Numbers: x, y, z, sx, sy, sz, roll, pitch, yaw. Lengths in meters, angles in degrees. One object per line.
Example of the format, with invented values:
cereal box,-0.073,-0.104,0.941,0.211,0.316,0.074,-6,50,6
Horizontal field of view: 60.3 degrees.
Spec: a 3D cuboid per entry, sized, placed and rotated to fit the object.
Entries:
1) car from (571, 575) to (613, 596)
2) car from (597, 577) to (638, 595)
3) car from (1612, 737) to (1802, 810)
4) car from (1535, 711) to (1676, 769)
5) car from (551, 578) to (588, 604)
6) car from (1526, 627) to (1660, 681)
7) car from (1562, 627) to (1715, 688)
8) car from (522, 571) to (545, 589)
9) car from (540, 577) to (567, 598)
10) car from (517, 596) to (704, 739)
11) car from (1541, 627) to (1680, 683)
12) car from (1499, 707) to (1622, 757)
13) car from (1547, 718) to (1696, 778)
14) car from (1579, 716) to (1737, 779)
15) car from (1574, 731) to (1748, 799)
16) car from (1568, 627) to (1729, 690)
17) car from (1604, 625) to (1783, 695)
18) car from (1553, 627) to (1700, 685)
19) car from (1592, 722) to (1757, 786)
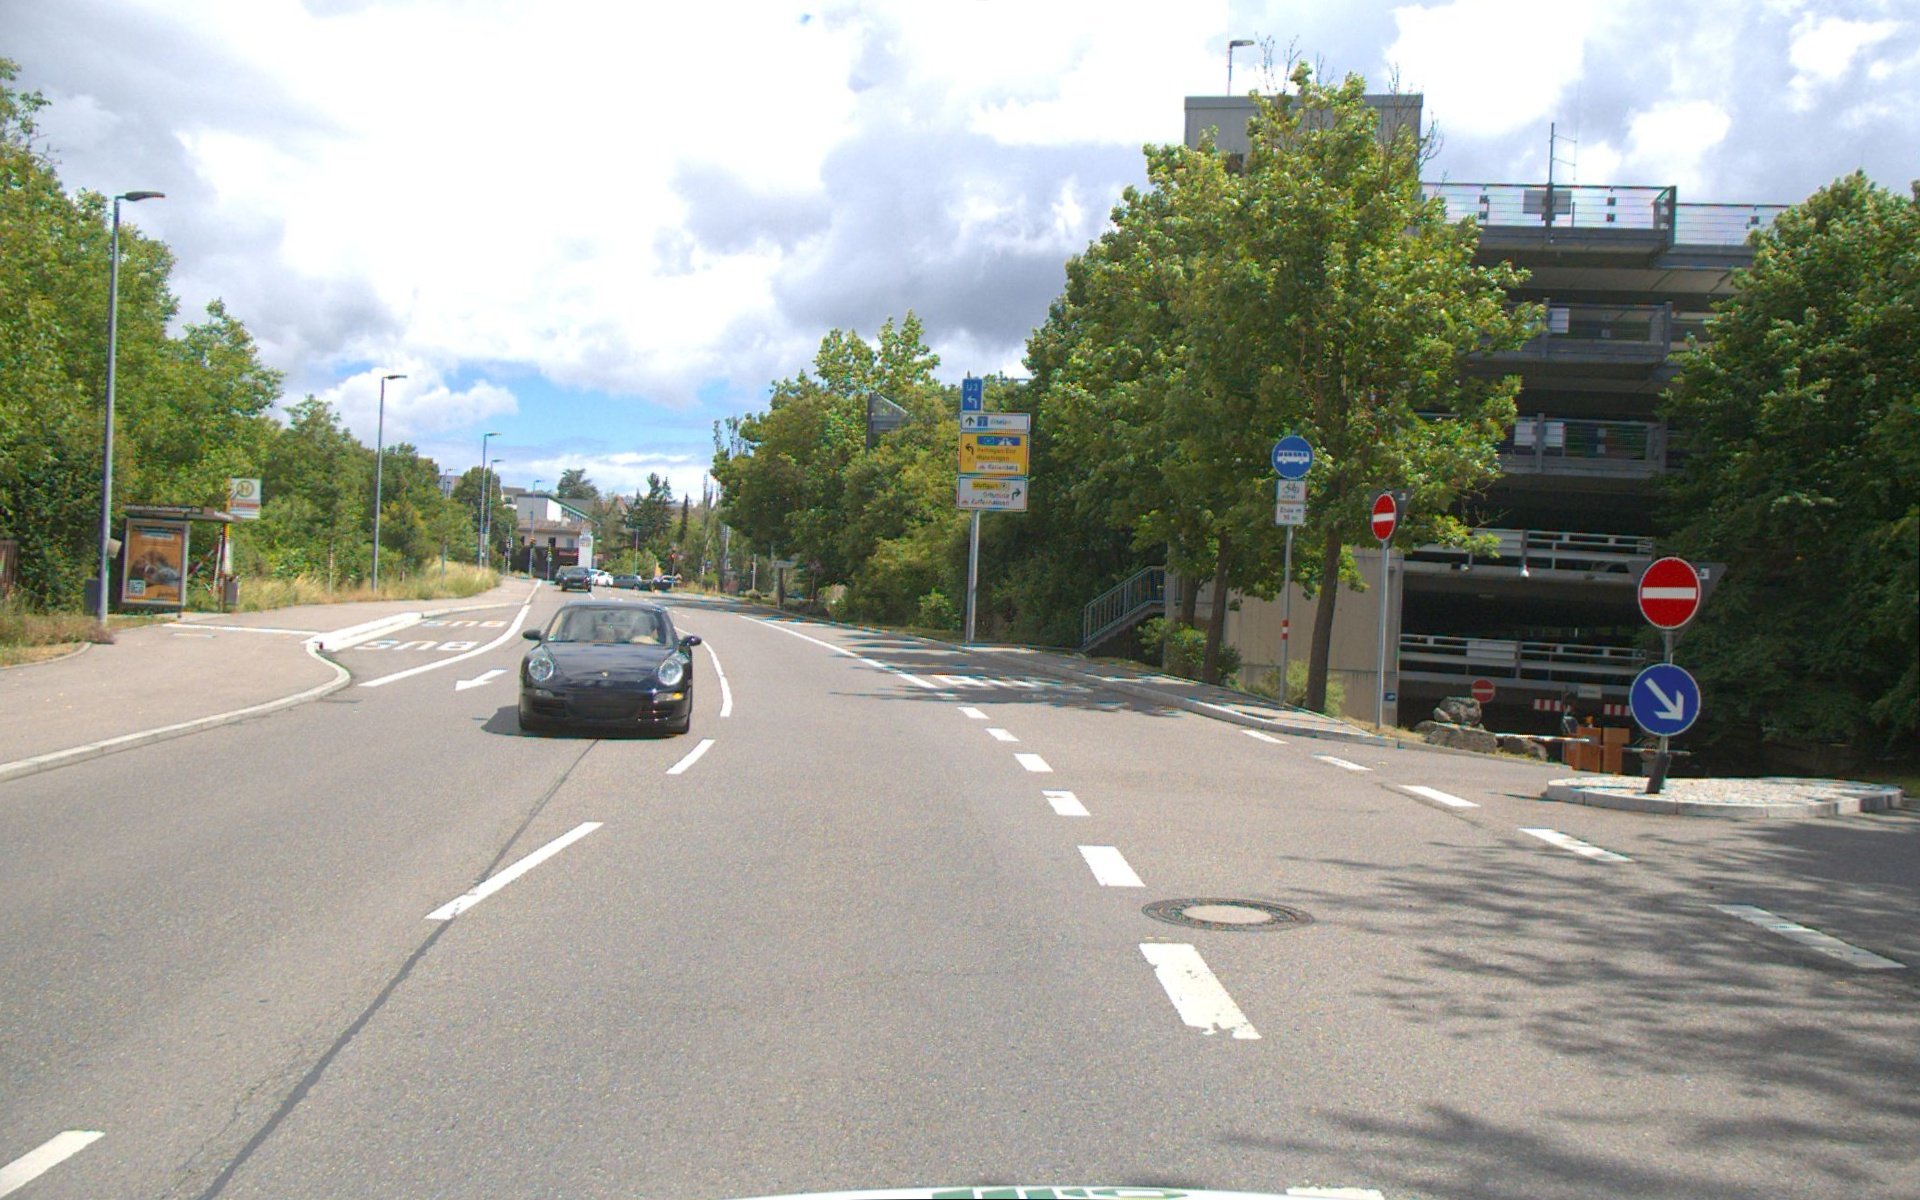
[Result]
car,-36.274,-1.395,163.178,3.917,1.937,1.994,2,0,-12
car,-34.604,-1.422,167.135,3.912,1.742,1.892,2,0,-8
car,19.574,4.537,43.526,4.222,1.443,2.001,3,0,15
car,21.804,4.724,56.033,4.222,1.515,2.001,3,0,15
car,-24.747,-0.574,104.805,1.795,1.584,4.603,1,1,-19
car,22.651,1.908,59.338,4.222,1.659,2.001,3,0,15
car,21.478,1.790,52.514,4.222,1.659,2.001,3,0,15
car,-37.410,-1.727,144.943,1.738,1.467,3.881,2,0,-17
car,-31.008,-0.945,126.013,1.738,1.467,4.357,2,0,-17
car,-3.623,0.649,17.707,1.702,1.324,3.996,2,0,-9
car,22.409,1.871,57.138,4.222,1.659,2.001,3,0,15
car,22.961,5.033,63.385,4.222,1.515,2.001,3,0,15
car,21.469,4.782,53.847,4.222,1.515,2.001,3,0,15
car,21.655,4.572,51.467,4.222,1.515,2.001,3,0,15
car,19.630,4.600,46.502,4.222,1.443,2.001,3,0,15
car,20.953,1.752,50.512,4.222,1.659,2.001,3,0,15
car,20.253,1.640,45.870,4.222,1.659,2.001,3,0,15
car,21.910,1.825,54.563,4.222,1.659,2.001,3,0,15
car,21.274,4.568,49.420,4.222,1.443,2.001,3,0,15
